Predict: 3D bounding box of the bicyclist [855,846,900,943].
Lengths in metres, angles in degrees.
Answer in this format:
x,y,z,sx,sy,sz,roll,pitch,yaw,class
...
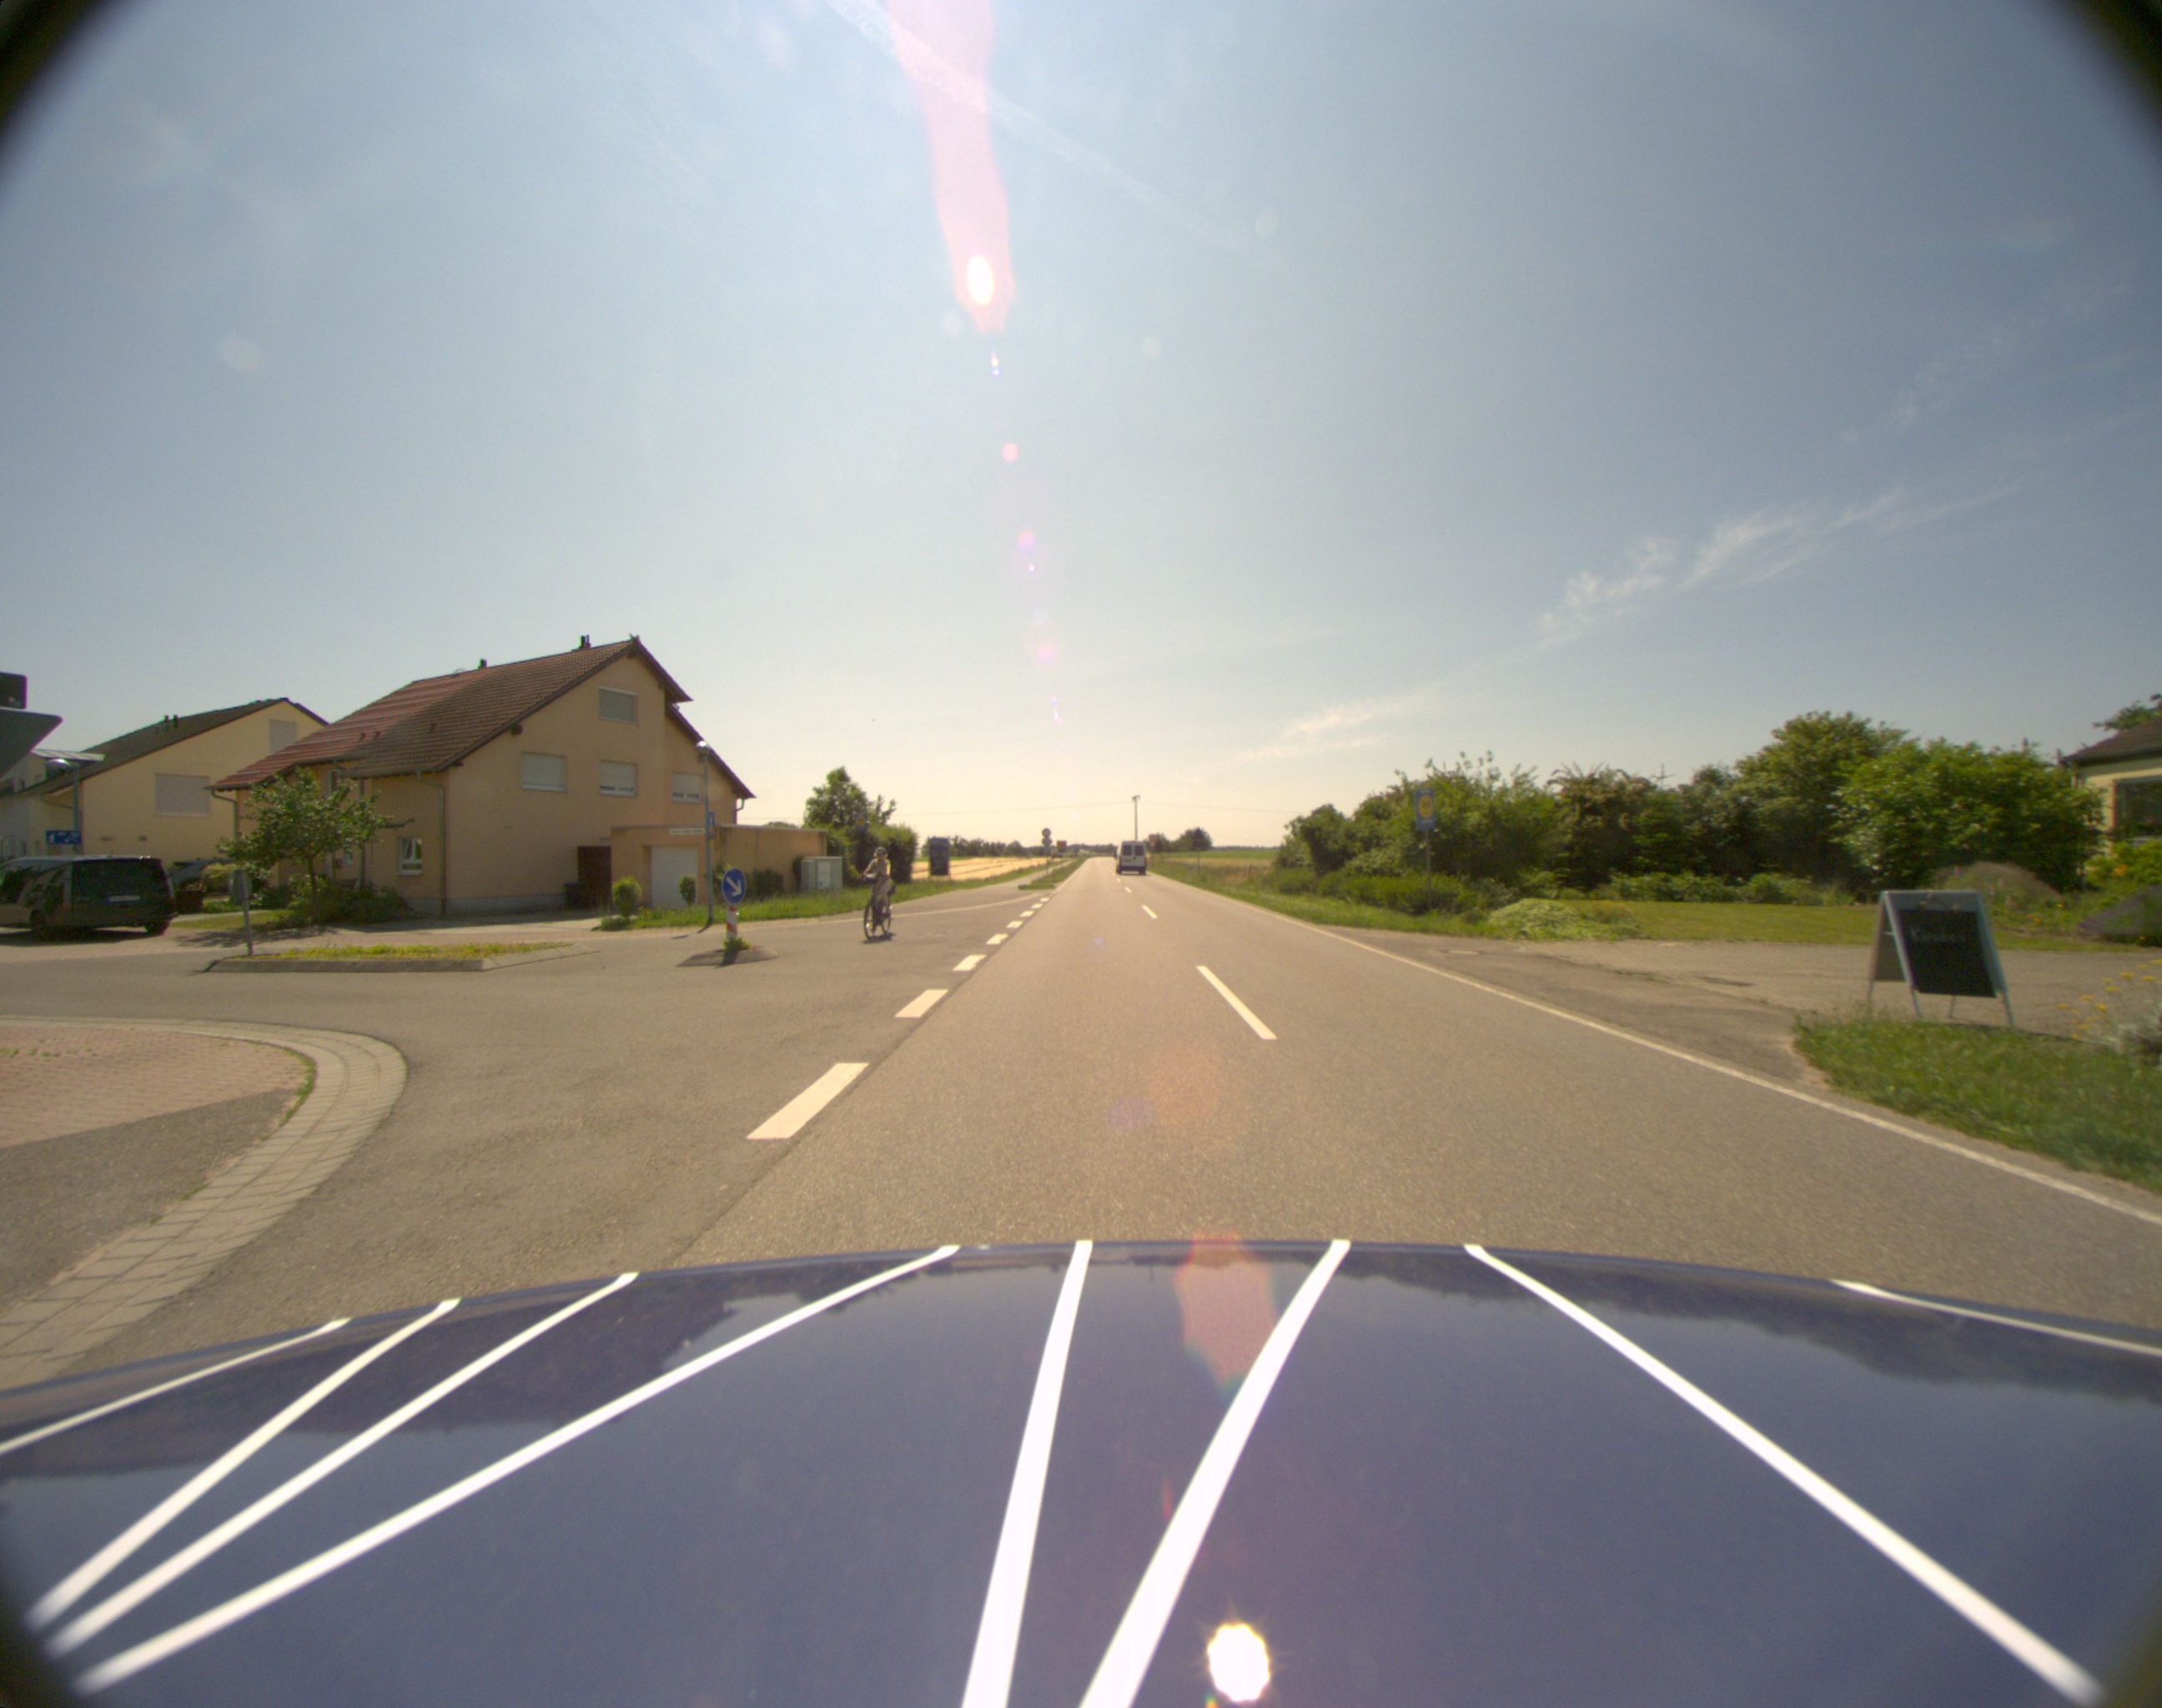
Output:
x,y,z,sx,sy,sz,roll,pitch,yaw,class
-4.081,0.788,15.295,0.646,1.879,0.860,0,2,1,bicyclist

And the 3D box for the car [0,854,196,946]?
x,y,z,sx,sy,sz,roll,pitch,yaw,class
-24.862,1.059,18.992,4.482,2.002,2.002,1,2,19,car

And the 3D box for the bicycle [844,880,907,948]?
x,y,z,sx,sy,sz,roll,pitch,yaw,class
-4.074,1.153,15.258,0.612,1.152,2.274,0,1,1,bicycle

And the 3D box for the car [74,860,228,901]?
x,y,z,sx,sy,sz,roll,pitch,yaw,class
-37.142,1.005,30.439,1.749,1.469,3.565,0,1,25,car

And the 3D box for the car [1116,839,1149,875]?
x,y,z,sx,sy,sz,roll,pitch,yaw,class
3.783,0.193,56.514,2.082,2.527,5.873,1,0,1,car
